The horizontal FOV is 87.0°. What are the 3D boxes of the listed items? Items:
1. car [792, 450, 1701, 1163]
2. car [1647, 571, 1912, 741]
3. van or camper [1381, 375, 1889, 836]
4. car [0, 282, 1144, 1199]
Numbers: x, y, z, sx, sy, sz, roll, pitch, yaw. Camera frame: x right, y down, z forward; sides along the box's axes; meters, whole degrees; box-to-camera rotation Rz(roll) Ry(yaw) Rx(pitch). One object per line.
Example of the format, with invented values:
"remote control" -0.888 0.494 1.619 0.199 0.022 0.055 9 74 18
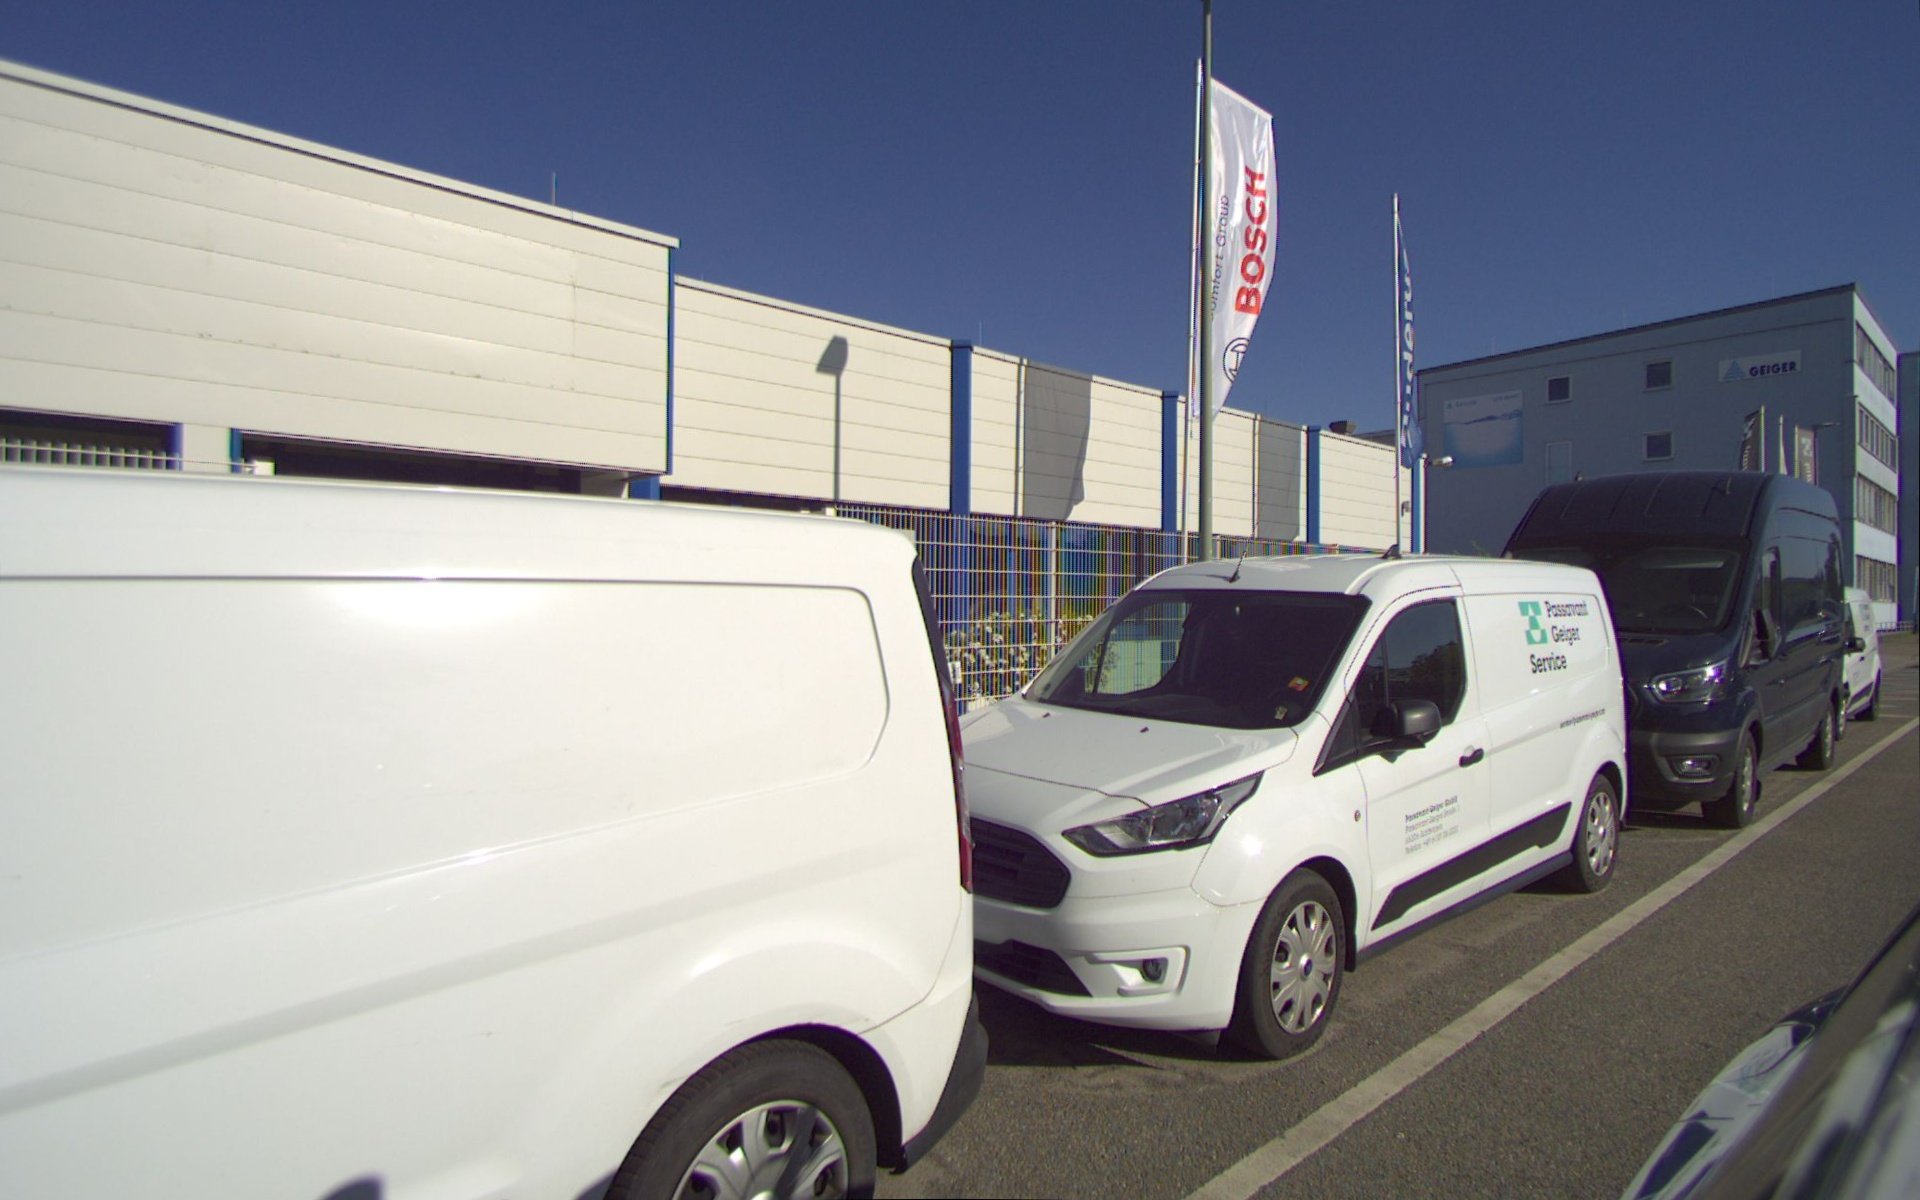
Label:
"car" 1.831 0.543 5.035 5.015 1.871 1.888 0 -1 -41
"car" 10.868 0.609 13.267 5.016 1.821 1.888 0 -1 -42
"van or camper" 6.246 0.033 8.940 6.054 2.795 2.144 0 -1 -41
"car" -2.059 0.563 1.659 5.078 1.854 1.858 0 -1 -41
